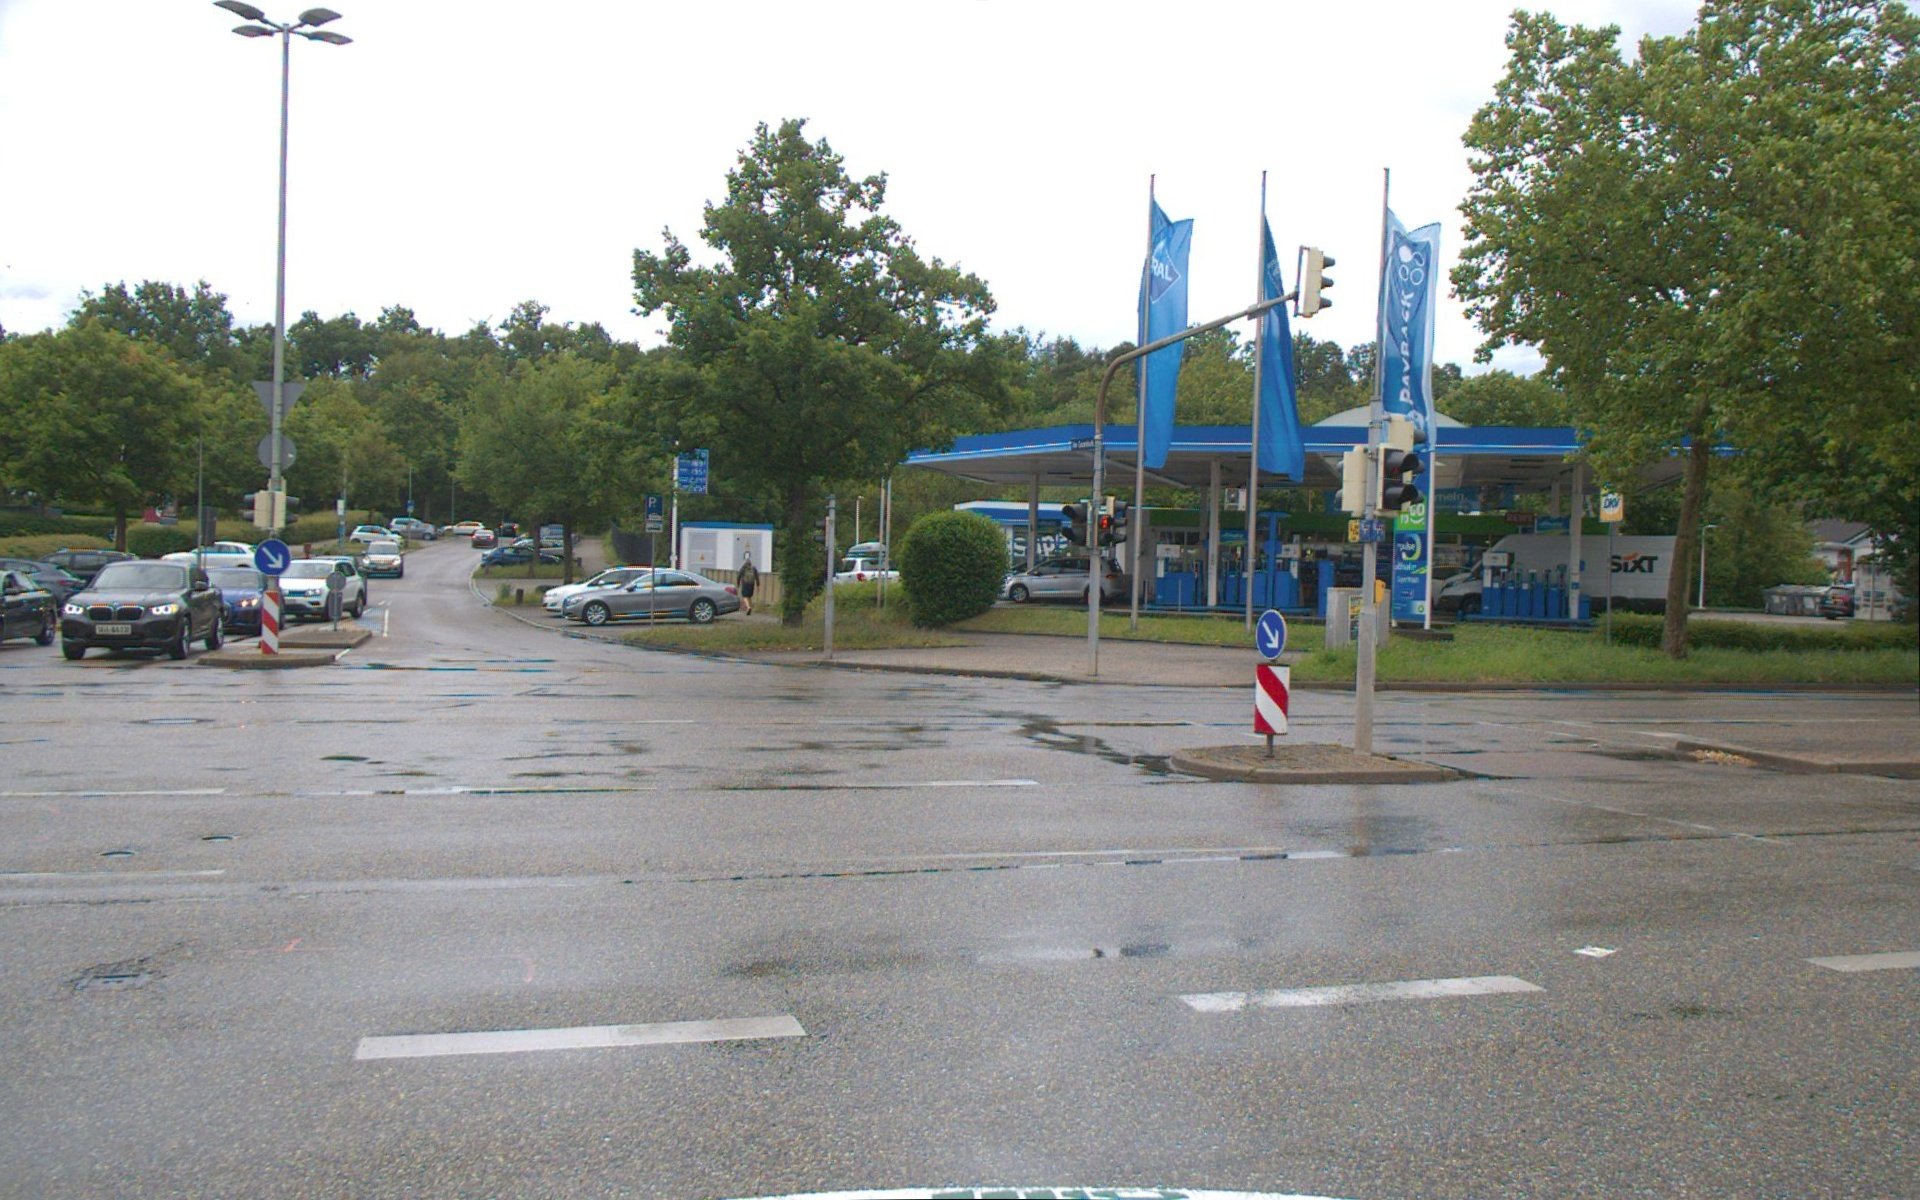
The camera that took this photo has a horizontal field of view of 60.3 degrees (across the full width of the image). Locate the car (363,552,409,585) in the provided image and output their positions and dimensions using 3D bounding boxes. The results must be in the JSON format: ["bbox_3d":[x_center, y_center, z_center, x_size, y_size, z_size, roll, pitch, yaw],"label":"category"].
[{"bbox_3d":[-27.492,-1.487,79.291,1.668,1.481,3.660,1,0,-13],"label":"car"}]

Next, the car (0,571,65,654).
[{"bbox_3d":[-17.786,0.180,29.994,1.752,1.429,3.986,1,0,-14],"label":"car"}]

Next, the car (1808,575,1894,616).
[{"bbox_3d":[41.099,-0.196,76.272,3.953,1.870,1.976,1,0,-35],"label":"car"}]

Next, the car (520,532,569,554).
[{"bbox_3d":[-34.951,-4.777,139.108,3.923,1.769,1.802,1,0,-17],"label":"car"}]

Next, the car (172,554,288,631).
[{"bbox_3d":[-16.844,-0.165,38.354,1.766,1.661,4.533,1,0,-15],"label":"car"}]

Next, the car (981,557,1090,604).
[{"bbox_3d":[2.941,-0.772,64.496,3.903,1.758,1.796,1,0,17],"label":"car"}]

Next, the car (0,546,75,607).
[{"bbox_3d":[-25.694,-0.635,43.890,3.591,1.580,1.677,1,0,-18],"label":"car"}]

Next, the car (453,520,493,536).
[{"bbox_3d":[-51.759,-7.685,175.969,3.917,1.557,1.800,1,0,-12],"label":"car"}]

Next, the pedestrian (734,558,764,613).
[{"bbox_3d":[-6.579,-0.452,51.567,0.795,1.690,0.883,1,0,-16],"label":"pedestrian"}]

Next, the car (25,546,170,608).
[{"bbox_3d":[-25.844,-0.681,49.678,3.591,1.754,1.677,1,0,-18],"label":"car"}]

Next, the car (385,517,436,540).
[{"bbox_3d":[-47.009,-6.081,141.586,3.918,1.825,1.850,1,0,-13],"label":"car"}]

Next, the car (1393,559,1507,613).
[{"bbox_3d":[16.316,-0.471,55.082,3.479,1.609,1.689,3,1,21],"label":"car"}]

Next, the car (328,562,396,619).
[{"bbox_3d":[-19.527,-0.334,54.096,1.568,1.726,3.529,2,1,-12],"label":"car"}]

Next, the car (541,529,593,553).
[{"bbox_3d":[-31.406,-4.674,132.252,3.923,1.769,1.802,1,0,-17],"label":"car"}]

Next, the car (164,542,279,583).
[{"bbox_3d":[-31.274,-1.557,70.152,4.199,1.637,1.679,1,0,-14],"label":"car"}]

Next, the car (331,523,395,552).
[{"bbox_3d":[-40.347,-4.197,111.863,3.924,1.825,1.847,1,0,-18],"label":"car"}]

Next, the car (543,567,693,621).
[{"bbox_3d":[-10.837,-0.186,52.351,4.501,1.616,1.920,1,0,-18],"label":"car"}]

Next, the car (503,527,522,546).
[{"bbox_3d":[-45.881,-6.487,169.597,1.775,1.769,3.984,1,0,-15],"label":"car"}]

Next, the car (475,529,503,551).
[{"bbox_3d":[-36.657,-4.653,128.765,1.775,1.508,3.740,1,0,-12],"label":"car"}]

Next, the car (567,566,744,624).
[{"bbox_3d":[-8.736,-0.134,47.398,4.809,1.576,1.990,1,0,-18],"label":"car"}]

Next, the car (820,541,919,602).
[{"bbox_3d":[-2.906,-0.885,52.465,1.787,1.828,3.667,2,0,-27],"label":"car"}]

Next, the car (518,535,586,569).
[{"bbox_3d":[-23.030,-2.691,93.418,3.638,1.780,1.690,2,0,-16],"label":"car"}]

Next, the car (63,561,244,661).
[{"bbox_3d":[-13.904,0.160,28.796,1.863,1.580,4.576,1,0,-14],"label":"car"}]

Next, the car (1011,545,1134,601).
[{"bbox_3d":[4.004,-0.938,58.573,4.027,1.839,1.947,2,0,15],"label":"car"}]

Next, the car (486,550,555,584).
[{"bbox_3d":[-22.988,-1.725,86.519,3.403,1.683,1.609,2,0,-16],"label":"car"}]

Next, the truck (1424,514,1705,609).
[{"bbox_3d":[17.844,-1.116,49.299,7.680,2.722,2.157,0,0,15],"label":"truck"}]

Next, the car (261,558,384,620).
[{"bbox_3d":[-17.306,-0.314,45.077,1.857,1.580,3.999,1,1,-1],"label":"car"}]
